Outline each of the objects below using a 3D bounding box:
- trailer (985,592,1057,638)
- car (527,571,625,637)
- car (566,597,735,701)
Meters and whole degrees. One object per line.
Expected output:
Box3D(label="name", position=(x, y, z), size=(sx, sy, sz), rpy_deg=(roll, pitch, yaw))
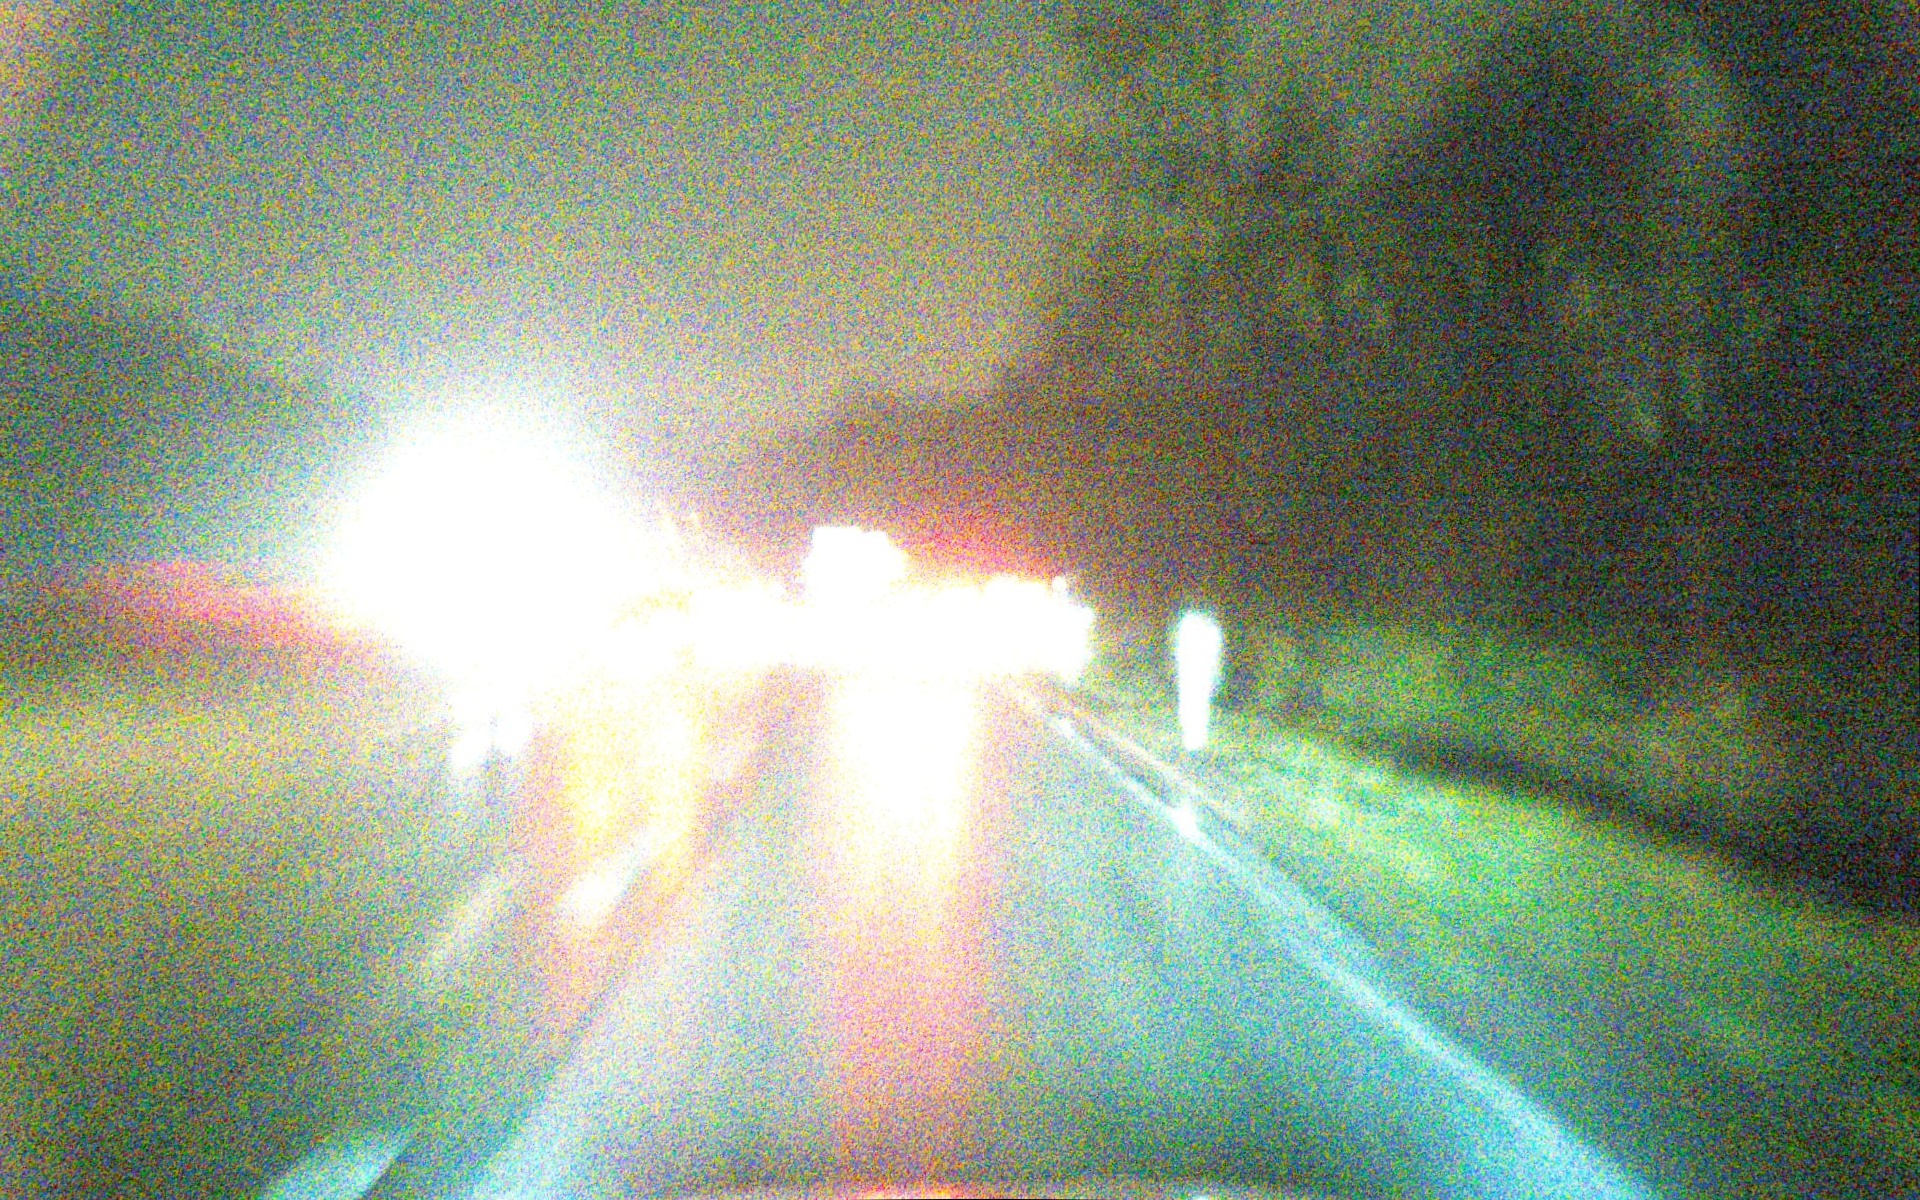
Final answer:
Box3D(label="trailer", position=(3.128, 0.760, 81.797), size=(2.034, 2.049, 10.656), rpy_deg=(1, -1, 10))
Box3D(label="car", position=(-9.642, 0.094, 41.855), size=(1.733, 1.543, 4.909), rpy_deg=(1, 0, -6))
Box3D(label="car", position=(-4.650, 0.705, 25.404), size=(1.923, 1.405, 4.047), rpy_deg=(2, -1, -2))
